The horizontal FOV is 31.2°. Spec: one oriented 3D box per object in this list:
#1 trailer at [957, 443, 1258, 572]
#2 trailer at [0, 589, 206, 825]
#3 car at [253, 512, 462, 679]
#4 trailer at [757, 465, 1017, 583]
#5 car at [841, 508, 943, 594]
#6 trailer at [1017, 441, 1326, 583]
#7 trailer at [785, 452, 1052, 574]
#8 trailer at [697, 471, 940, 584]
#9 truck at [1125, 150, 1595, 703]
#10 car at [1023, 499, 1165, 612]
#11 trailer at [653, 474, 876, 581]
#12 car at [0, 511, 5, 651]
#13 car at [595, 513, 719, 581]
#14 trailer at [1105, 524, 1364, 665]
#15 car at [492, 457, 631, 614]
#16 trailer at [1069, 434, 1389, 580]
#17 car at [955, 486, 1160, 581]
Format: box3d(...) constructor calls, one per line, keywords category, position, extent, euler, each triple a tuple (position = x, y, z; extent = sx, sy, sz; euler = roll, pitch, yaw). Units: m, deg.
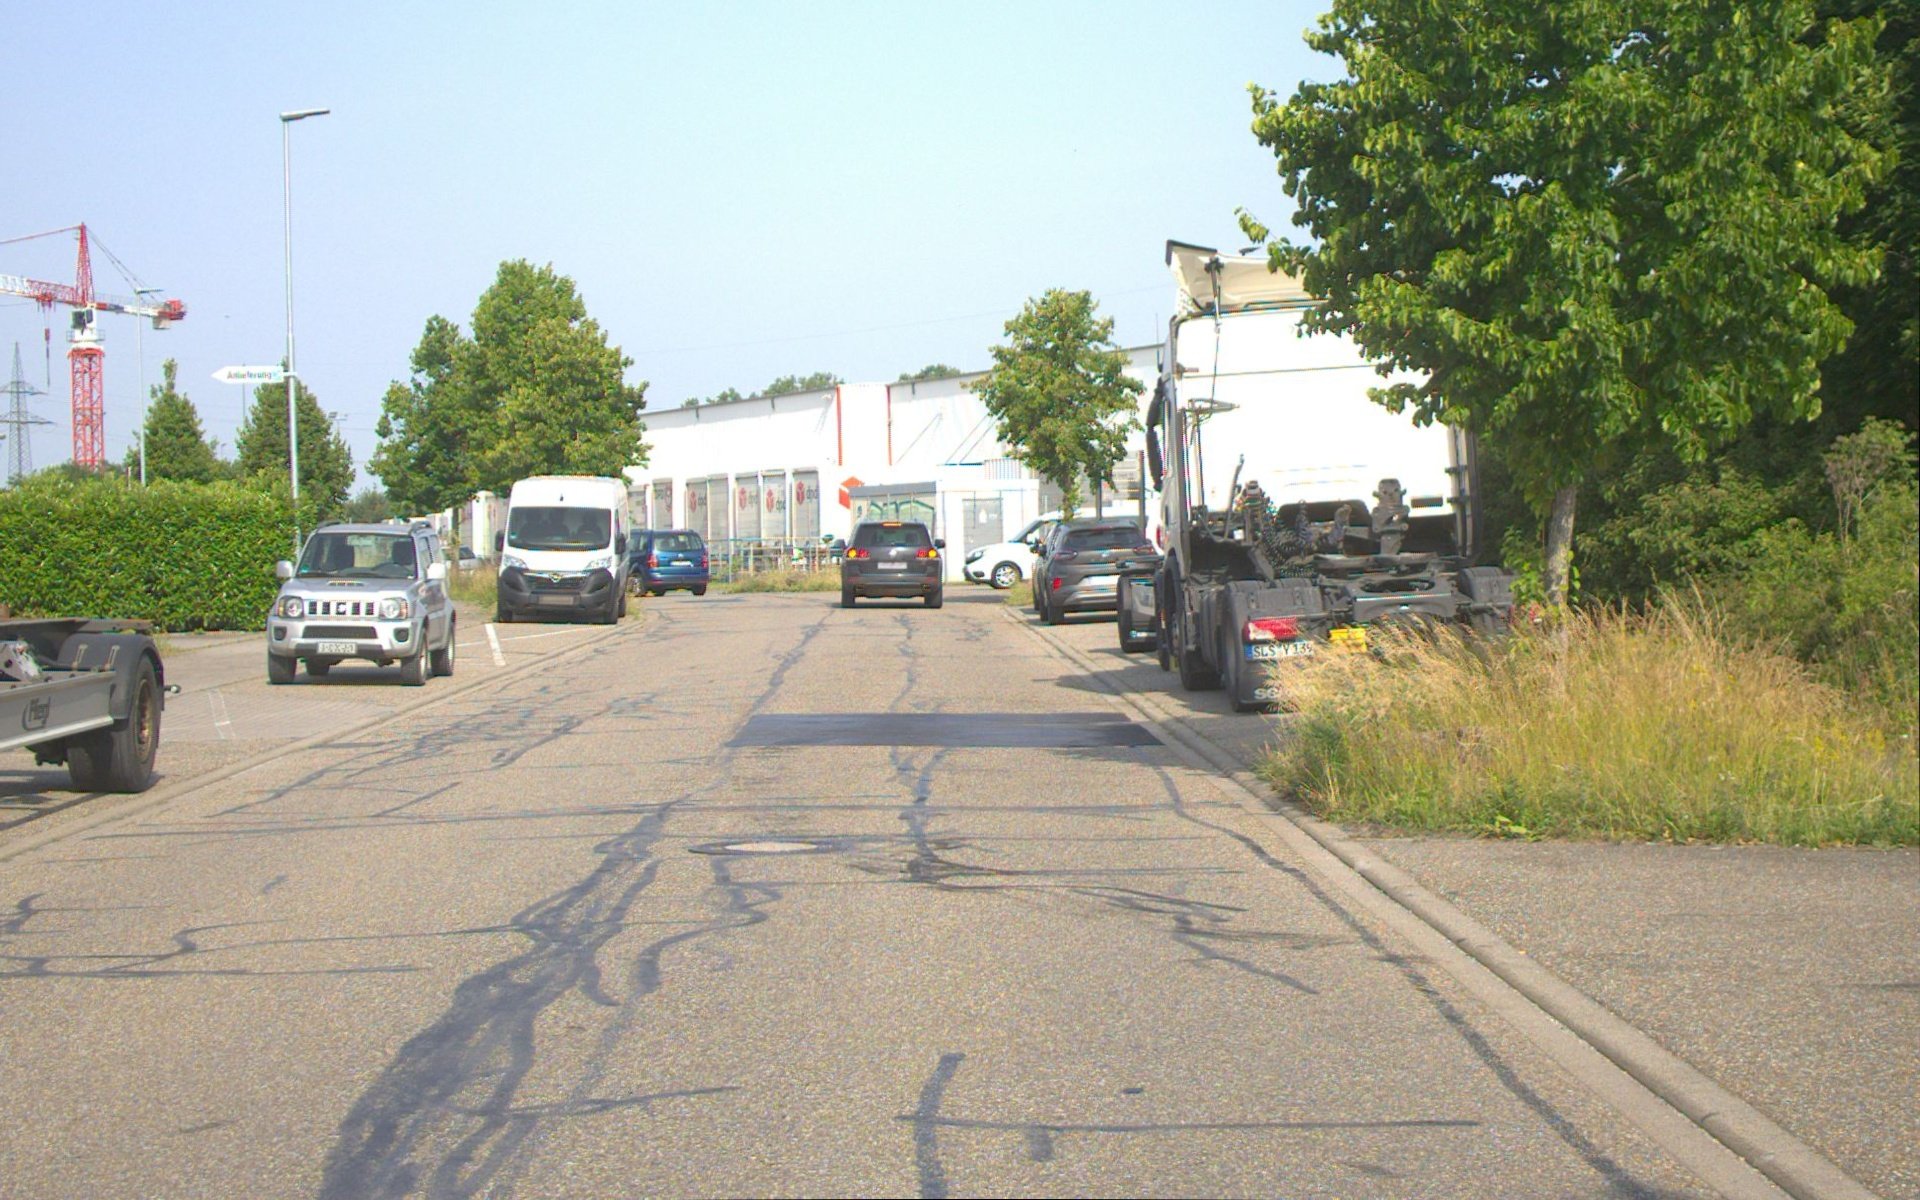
box3d(category="trailer", position=(4.481, -2.771, 103.901), extent=(8.730, 3.748, 2.791), euler=(-1, 0, -24))
box3d(category="trailer", position=(-6.129, 0.593, 17.644), extent=(2.546, 1.070, 9.733), euler=(0, 1, -1))
box3d(category="car", position=(-6.342, -0.093, 36.494), extent=(1.597, 1.645, 3.645), euler=(-1, 1, -1))
box3d(category="trailer", position=(-2.503, -2.609, 118.916), extent=(8.534, 3.880, 2.776), euler=(1, 1, -24))
box3d(category="car", position=(-1.301, -0.929, 66.153), extent=(1.880, 1.581, 4.114), euler=(1, 1, -1))
box3d(category="trailer", position=(6.190, -2.577, 100.211), extent=(8.534, 3.880, 2.776), euler=(-2, 1, -23))
box3d(category="trailer", position=(-1.375, -2.891, 115.868), extent=(8.534, 3.880, 2.776), euler=(1, 1, -24))
box3d(category="trailer", position=(-5.097, -2.598, 124.402), extent=(8.305, 3.880, 2.776), euler=(1, 1, -24))
box3d(category="truck", position=(3.130, -1.353, 28.600), extent=(2.691, 3.950, 6.049), euler=(-4, 1, -3))
box3d(category="car", position=(2.005, -0.670, 52.493), extent=(1.880, 1.568, 4.114), euler=(-3, 1, -1))
box3d(category="trailer", position=(-7.446, -2.733, 130.959), extent=(7.961, 3.880, 2.776), euler=(1, 1, -24))
box3d(category="car", position=(-12.120, -0.249, 39.921), extent=(1.833, 1.566, 3.818), euler=(0, 1, -18))
box3d(category="car", position=(-7.457, -1.282, 84.365), extent=(1.968, 1.568, 4.114), euler=(-2, 1, -20))
box3d(category="trailer", position=(2.753, -0.136, 36.200), extent=(1.938, 1.231, 7.452), euler=(-3, 1, -1))
box3d(category="car", position=(-7.015, -1.150, 61.092), extent=(2.102, 2.586, 6.505), euler=(1, 1, -4))
box3d(category="trailer", position=(7.605, -2.626, 96.984), extent=(8.534, 3.881, 2.776), euler=(-1, -1, -22))
box3d(category="car", position=(2.265, -1.550, 80.680), extent=(4.609, 2.103, 2.128), euler=(-1, 0, -3))
